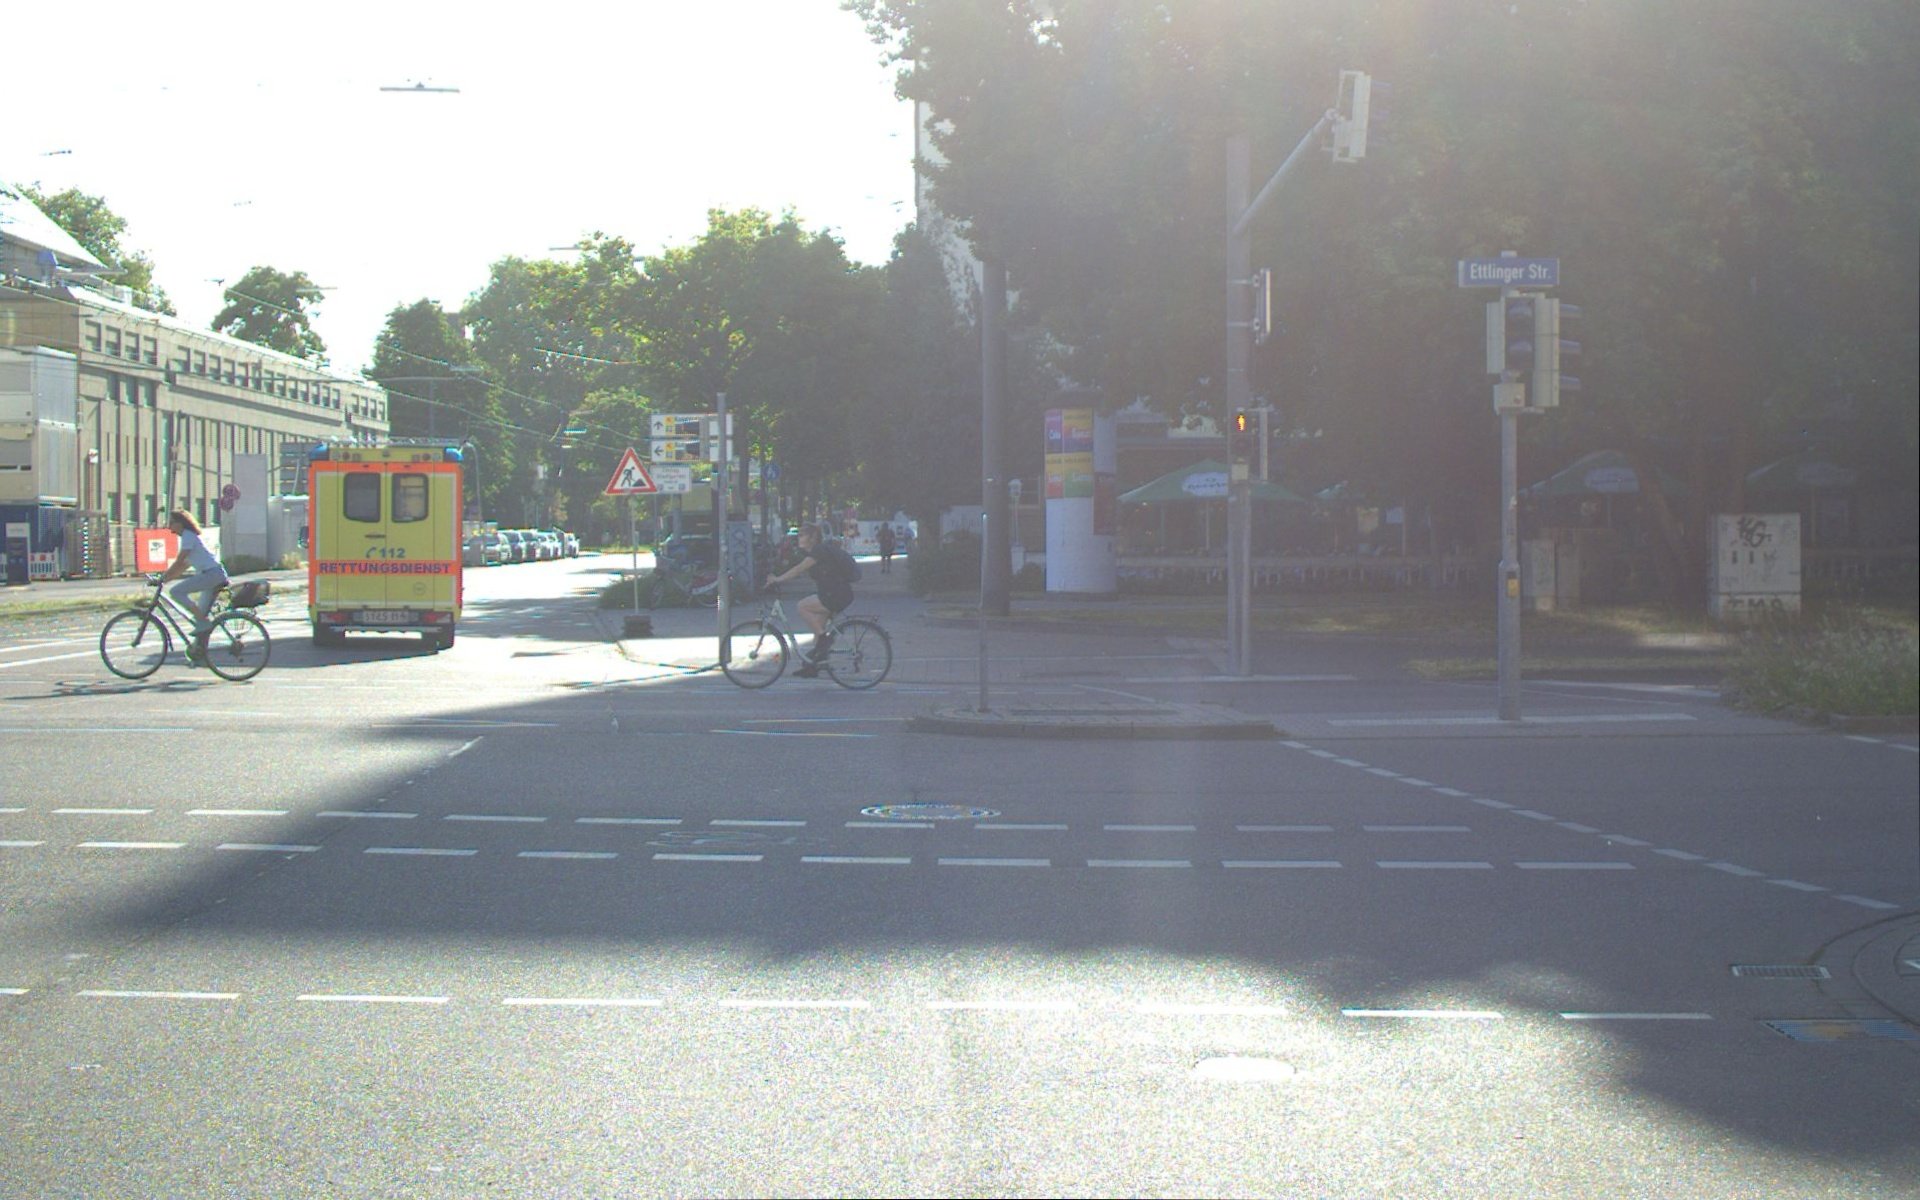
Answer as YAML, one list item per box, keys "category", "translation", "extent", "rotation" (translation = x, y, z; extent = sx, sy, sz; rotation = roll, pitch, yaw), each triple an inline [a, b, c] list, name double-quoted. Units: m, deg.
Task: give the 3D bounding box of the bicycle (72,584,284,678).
- category: "bicycle"
  translation: [-8.080, 0.314, 35.569]
  extent: [2.064, 0.930, 0.575]
  rotation: [-1, 1, -5]

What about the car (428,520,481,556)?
- category: "car"
  translation: [-22.979, -2.803, 156.430]
  extent: [1.894, 1.601, 4.501]
  rotation: [-1, 1, -2]

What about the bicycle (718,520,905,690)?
- category: "bicycle"
  translation: [-1.542, 0.041, 35.628]
  extent: [1.897, 1.729, 0.597]
  rotation: [-1, 1, -5]

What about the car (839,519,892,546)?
- category: "car"
  translation: [-5.888, -4.186, 213.442]
  extent: [3.214, 1.583, 1.446]
  rotation: [1, 0, -4]

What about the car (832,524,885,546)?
- category: "car"
  translation: [-6.228, -4.002, 211.181]
  extent: [3.217, 1.259, 1.373]
  rotation: [1, 0, -1]

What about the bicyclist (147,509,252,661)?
- category: "bicyclist"
  translation: [-7.864, -0.160, 35.583]
  extent: [0.974, 1.555, 0.575]
  rotation: [-1, 1, -5]

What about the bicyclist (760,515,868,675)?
- category: "bicyclist"
  translation: [-1.514, -0.060, 35.631]
  extent: [1.074, 1.635, 0.597]
  rotation: [-1, 1, -5]

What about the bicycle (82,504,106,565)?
- category: "bicycle"
  translation: [-32.750, -2.467, 130.088]
  extent: [0.571, 2.288, 1.422]
  rotation: [0, 1, -2]

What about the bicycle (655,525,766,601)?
- category: "bicycle"
  translation: [-5.893, -0.872, 81.349]
  extent: [2.547, 1.737, 1.037]
  rotation: [1, 0, 0]

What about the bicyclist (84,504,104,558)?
- category: "bicyclist"
  translation: [-32.752, -2.607, 130.060]
  extent: [0.571, 2.017, 0.762]
  rotation: [0, 1, -2]

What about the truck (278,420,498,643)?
- category: "truck"
  translation: [-8.374, -0.988, 49.766]
  extent: [2.715, 3.005, 6.491]
  rotation: [0, 1, -13]
